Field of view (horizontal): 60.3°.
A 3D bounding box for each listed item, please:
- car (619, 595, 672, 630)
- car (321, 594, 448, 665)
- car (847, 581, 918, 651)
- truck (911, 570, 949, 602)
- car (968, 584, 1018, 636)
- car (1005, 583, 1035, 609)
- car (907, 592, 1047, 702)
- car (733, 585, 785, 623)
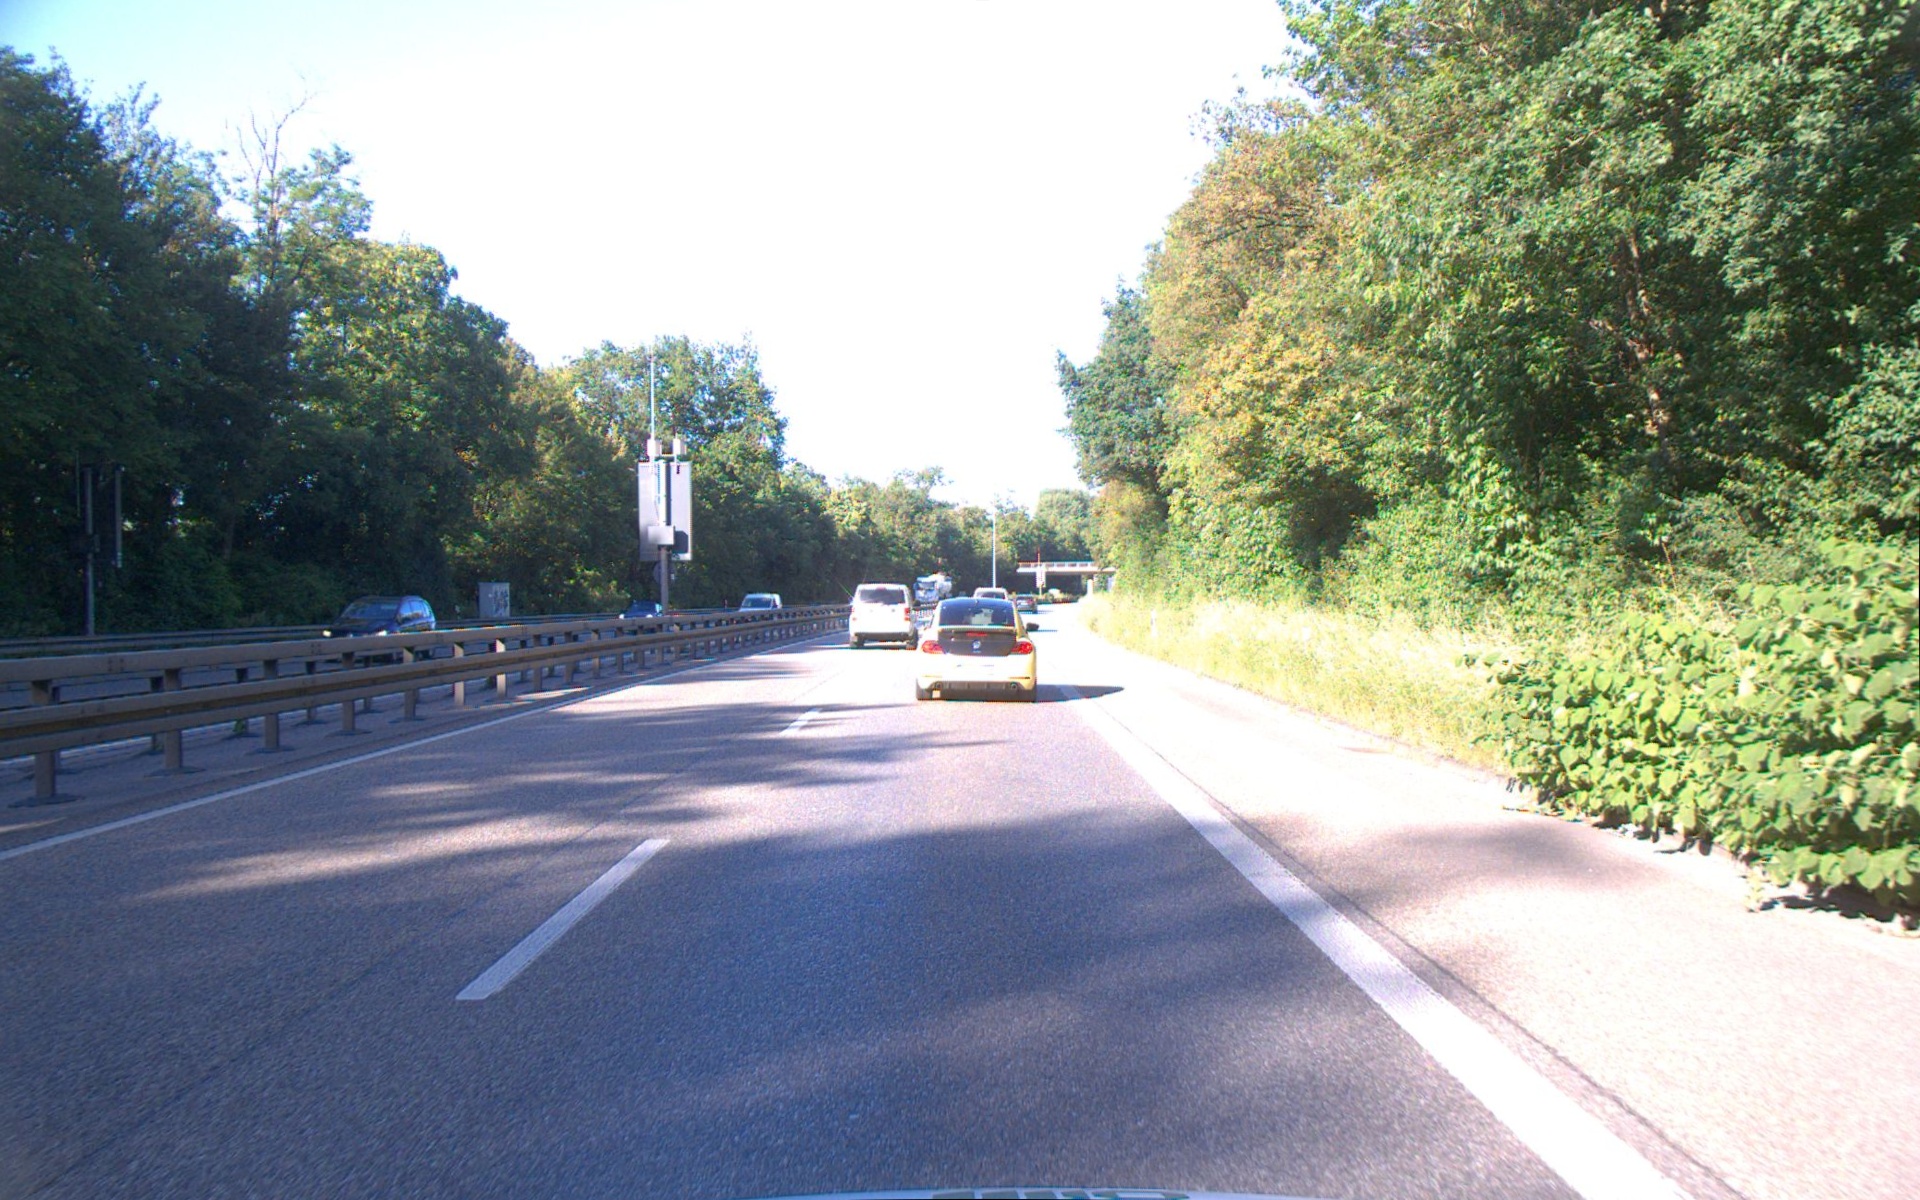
[{"bbox_3d":[-14.029,0.543,73.906,1.564,1.506,3.910,-1,0,1],"label":"car"},{"bbox_3d":[-15.050,0.726,43.540,1.564,1.667,4.676,-2,0,1],"label":"car"},{"bbox_3d":[-2.112,0.408,45.952,1.705,1.862,3.423,0,0,1],"label":"car"},{"bbox_3d":[-3.424,-1.654,193.171,2.827,3.582,11.961,-2,0,7],"label":"truck"},{"bbox_3d":[1.380,0.380,69.523,1.952,2.048,4.001,-2,0,1],"label":"car"},{"bbox_3d":[4.801,-0.349,131.973,2.216,1.908,5.078,-2,0,3],"label":"car"},{"bbox_3d":[0.183,0.648,24.784,1.900,1.534,3.420,0,0,-3],"label":"car"},{"bbox_3d":[-10.443,0.178,86.197,1.952,1.820,5.029,-2,0,1],"label":"car"}]
